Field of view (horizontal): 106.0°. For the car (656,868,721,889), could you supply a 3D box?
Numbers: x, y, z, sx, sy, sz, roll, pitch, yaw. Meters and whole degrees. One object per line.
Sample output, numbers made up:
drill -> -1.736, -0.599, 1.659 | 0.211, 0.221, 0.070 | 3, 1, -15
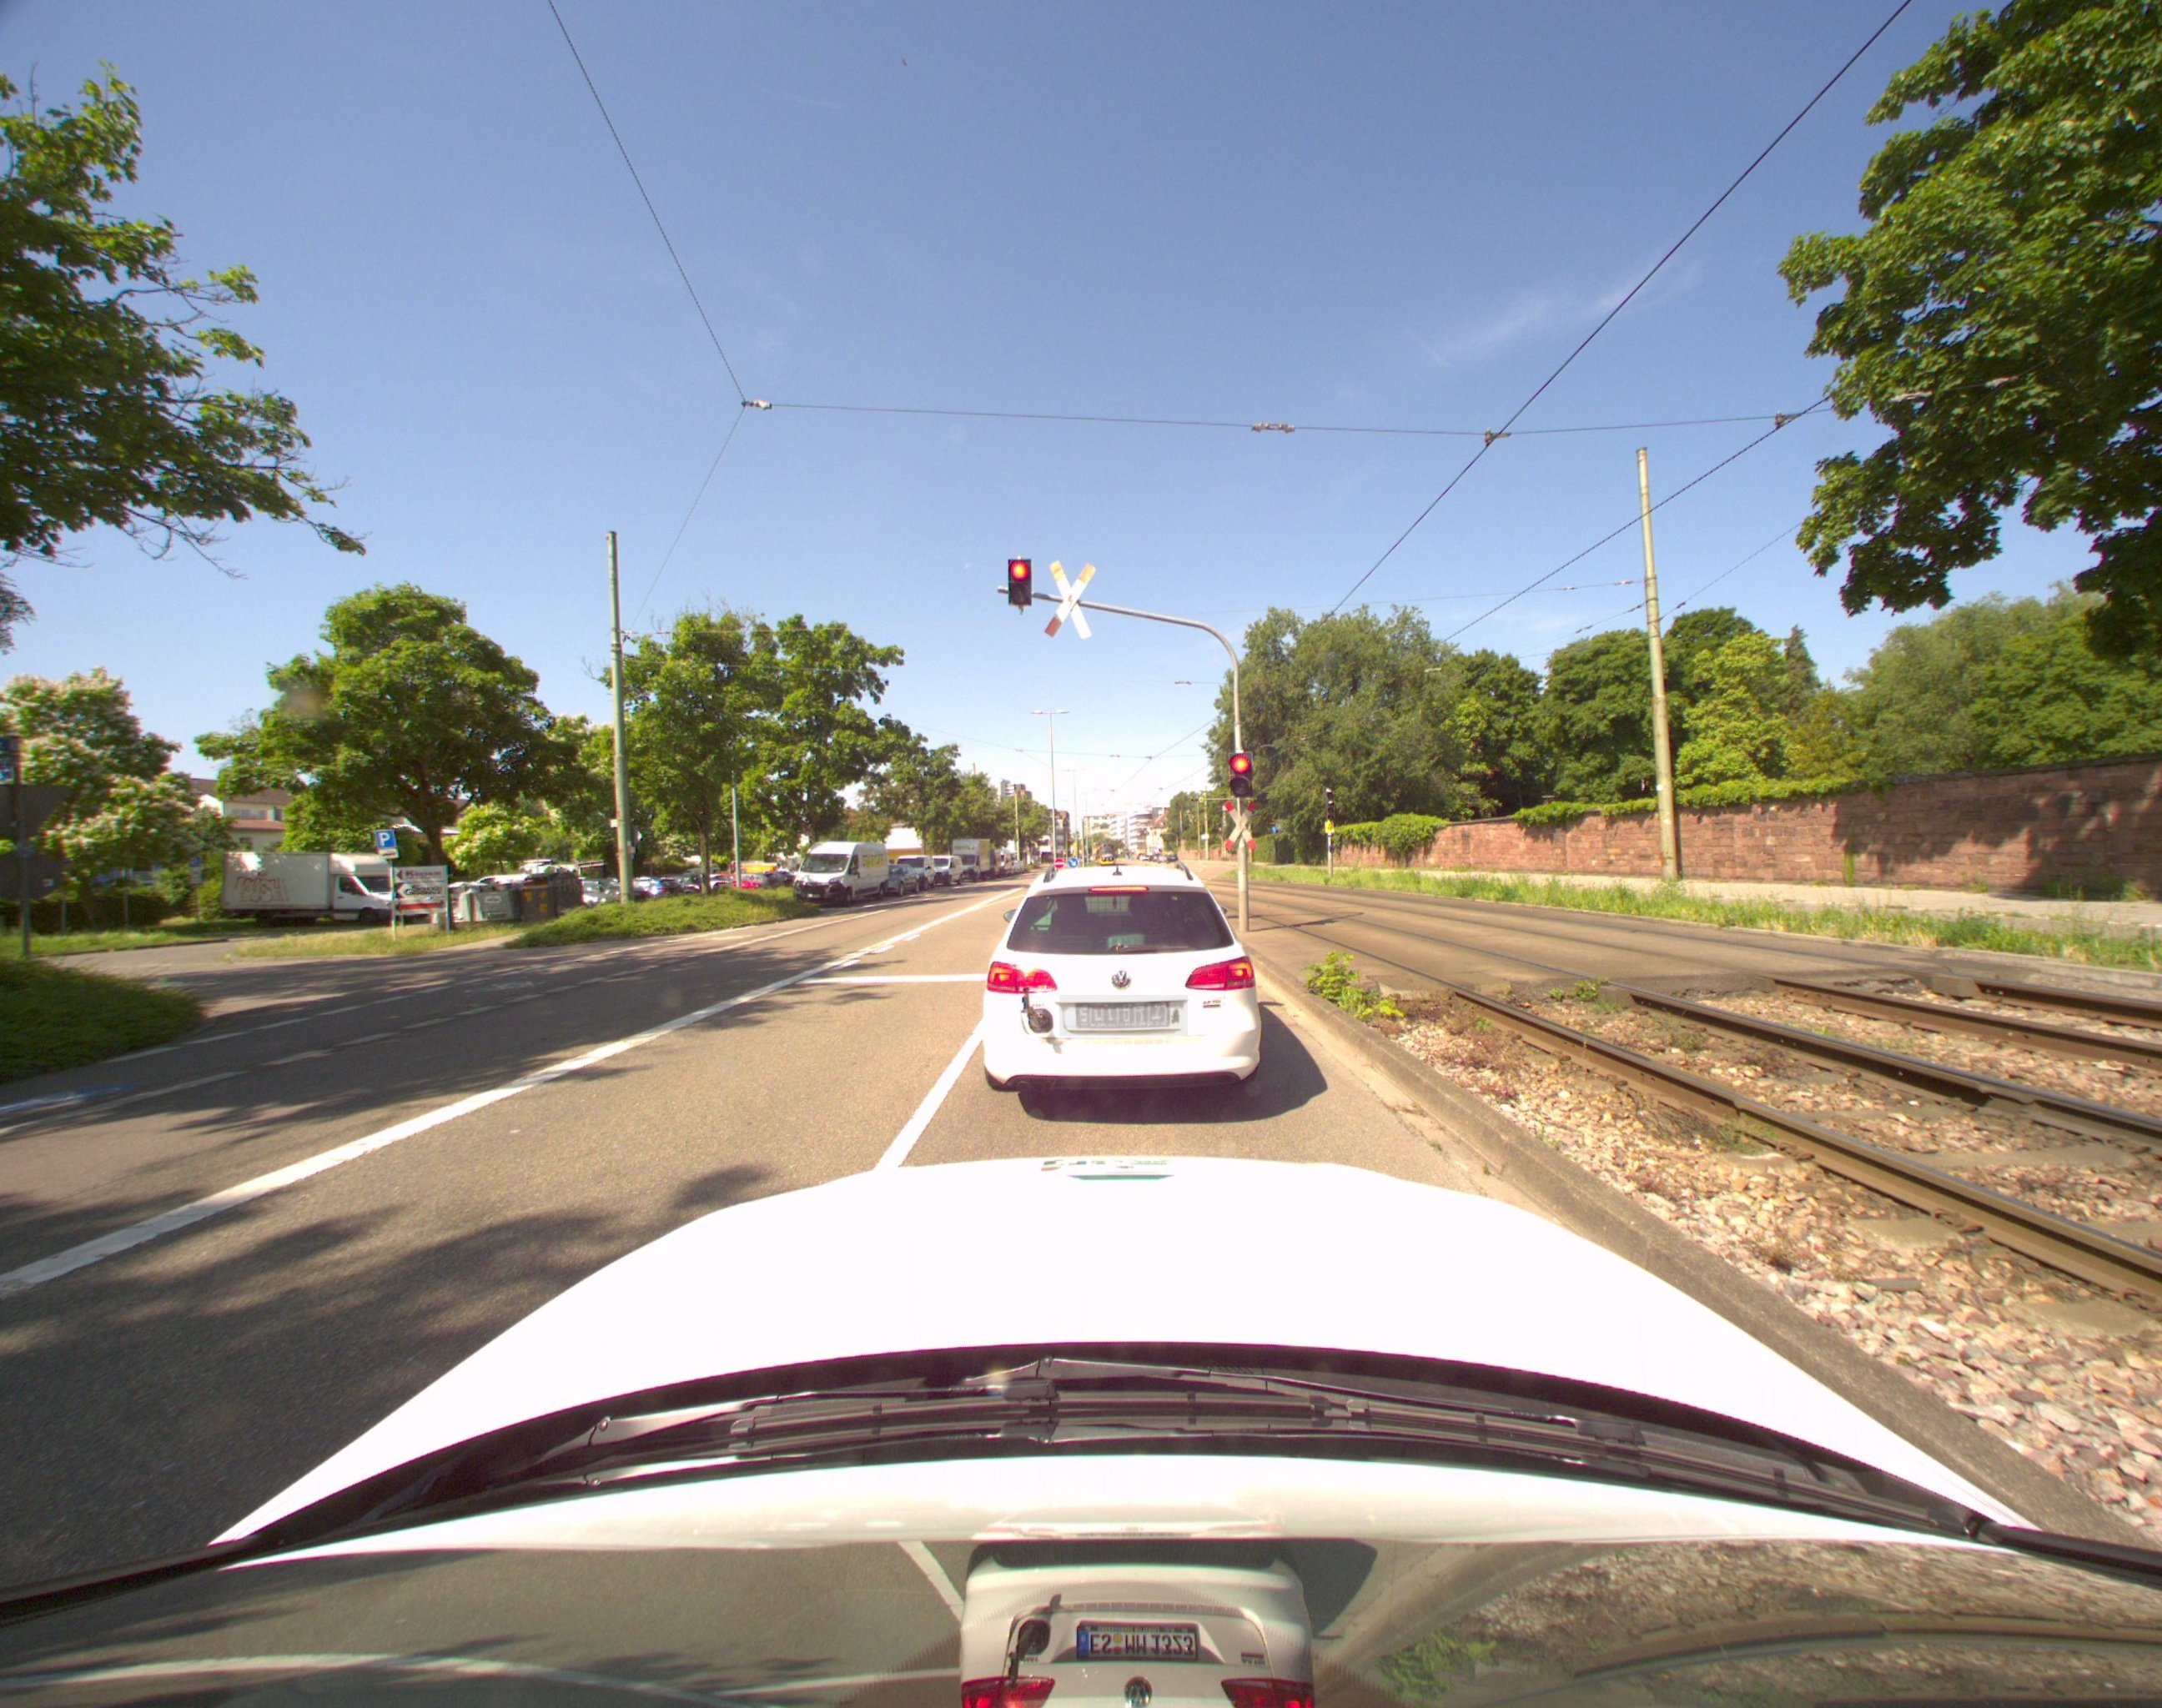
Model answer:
car -> -35.165, 2.185, 72.991 | 4.780, 1.787, 2.062 | 0, -1, -3

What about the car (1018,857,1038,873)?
car -> -6.390, 1.255, 98.956 | 1.856, 1.868, 5.415 | 0, 0, 1

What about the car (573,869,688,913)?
car -> -19.917, 1.622, 36.122 | 3.977, 1.610, 1.729 | -4, -1, -3

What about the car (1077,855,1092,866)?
car -> 0.497, 0.873, 112.447 | 1.698, 1.473, 4.593 | -3, 0, 3

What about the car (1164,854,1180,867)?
car -> 13.708, 0.945, 122.875 | 1.857, 1.868, 5.063 | 0, 0, 1

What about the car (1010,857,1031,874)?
car -> -6.772, 1.301, 92.043 | 1.856, 1.868, 5.415 | 0, 0, 1

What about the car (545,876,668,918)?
car -> -19.666, 1.762, 33.877 | 3.977, 1.415, 1.729 | -4, -1, -3

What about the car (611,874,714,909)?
car -> -20.294, 1.797, 39.620 | 3.977, 1.415, 1.729 | -4, -1, -3

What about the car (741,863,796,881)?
car -> -31.772, 1.850, 82.795 | 4.780, 1.787, 2.062 | 0, -1, -3

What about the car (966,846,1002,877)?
car -> -8.146, 0.608, 68.704 | 2.114, 2.516, 5.737 | 0, 0, 2

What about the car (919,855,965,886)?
car -> -8.869, 1.004, 52.285 | 1.856, 1.868, 5.415 | 0, 0, 1

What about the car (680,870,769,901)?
car -> -19.537, 1.714, 44.747 | 3.977, 1.415, 1.729 | -4, -1, -3

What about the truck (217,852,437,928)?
truck -> -32.423, 1.513, 35.223 | 6.978, 3.110, 2.677 | 0, 0, 0

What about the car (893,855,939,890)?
car -> -9.192, 0.984, 45.704 | 1.859, 1.868, 5.068 | 0, 0, -3

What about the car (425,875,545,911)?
car -> -31.765, 2.039, 43.493 | 4.780, 1.787, 2.062 | 0, -1, -3

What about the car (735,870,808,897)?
car -> -19.791, 1.858, 52.204 | 3.977, 1.415, 1.729 | -4, -1, -3

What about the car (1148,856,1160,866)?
car -> 13.701, 1.232, 153.505 | 1.857, 1.868, 5.063 | 0, 0, 1

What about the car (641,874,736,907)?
car -> -20.287, 1.861, 42.231 | 3.977, 1.415, 1.729 | -4, -1, -3

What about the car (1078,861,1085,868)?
car -> 0.154, 2.727, 216.282 | 1.756, 1.896, 4.916 | 0, -1, 2

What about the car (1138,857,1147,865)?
car -> 14.583, 1.546, 193.679 | 1.857, 1.868, 5.063 | 0, 0, 1

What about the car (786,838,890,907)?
car -> -9.579, 0.680, 32.690 | 2.114, 2.516, 5.822 | 0, 0, 3

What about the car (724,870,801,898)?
car -> -19.461, 1.813, 49.897 | 3.977, 1.415, 1.729 | -4, -1, -3

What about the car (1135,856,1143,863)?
car -> 15.804, 1.397, 222.395 | 1.857, 1.868, 5.063 | 0, 0, 1

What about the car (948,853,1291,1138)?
car -> 0.265, 0.752, 6.314 | 1.756, 1.430, 4.002 | -3, 0, 2

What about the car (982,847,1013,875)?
car -> -7.742, 0.668, 76.136 | 2.114, 2.516, 5.737 | 0, 0, 2

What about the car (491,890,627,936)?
car -> -19.898, 2.227, 31.184 | 3.977, 1.415, 1.729 | -4, -1, -3

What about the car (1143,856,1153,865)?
car -> 13.943, 1.358, 170.270 | 1.857, 1.868, 5.063 | 0, 0, 1

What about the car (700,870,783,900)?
car -> -19.607, 1.759, 47.081 | 3.977, 1.415, 1.729 | -4, -1, -3

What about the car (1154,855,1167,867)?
car -> 13.439, 1.169, 137.588 | 1.857, 1.868, 5.063 | 0, 0, 1

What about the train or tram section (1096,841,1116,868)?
train or tram section -> 4.012, 0.051, 129.718 | 2.860, 3.855, 12.396 | -3, 0, 2

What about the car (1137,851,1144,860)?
car -> 18.016, 0.545, 246.845 | 2.049, 2.759, 5.632 | 0, 0, 1

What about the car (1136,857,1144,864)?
car -> 15.097, 1.701, 207.917 | 1.857, 1.868, 5.063 | 0, 0, 1

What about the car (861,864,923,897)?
car -> -8.984, 1.215, 39.034 | 1.856, 1.415, 4.281 | 0, 0, 1

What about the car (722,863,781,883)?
car -> -31.471, 1.809, 77.983 | 4.780, 1.787, 2.062 | 0, -1, -3

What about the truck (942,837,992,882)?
truck -> -8.396, 0.404, 60.706 | 2.411, 3.150, 7.001 | 0, 0, 2
